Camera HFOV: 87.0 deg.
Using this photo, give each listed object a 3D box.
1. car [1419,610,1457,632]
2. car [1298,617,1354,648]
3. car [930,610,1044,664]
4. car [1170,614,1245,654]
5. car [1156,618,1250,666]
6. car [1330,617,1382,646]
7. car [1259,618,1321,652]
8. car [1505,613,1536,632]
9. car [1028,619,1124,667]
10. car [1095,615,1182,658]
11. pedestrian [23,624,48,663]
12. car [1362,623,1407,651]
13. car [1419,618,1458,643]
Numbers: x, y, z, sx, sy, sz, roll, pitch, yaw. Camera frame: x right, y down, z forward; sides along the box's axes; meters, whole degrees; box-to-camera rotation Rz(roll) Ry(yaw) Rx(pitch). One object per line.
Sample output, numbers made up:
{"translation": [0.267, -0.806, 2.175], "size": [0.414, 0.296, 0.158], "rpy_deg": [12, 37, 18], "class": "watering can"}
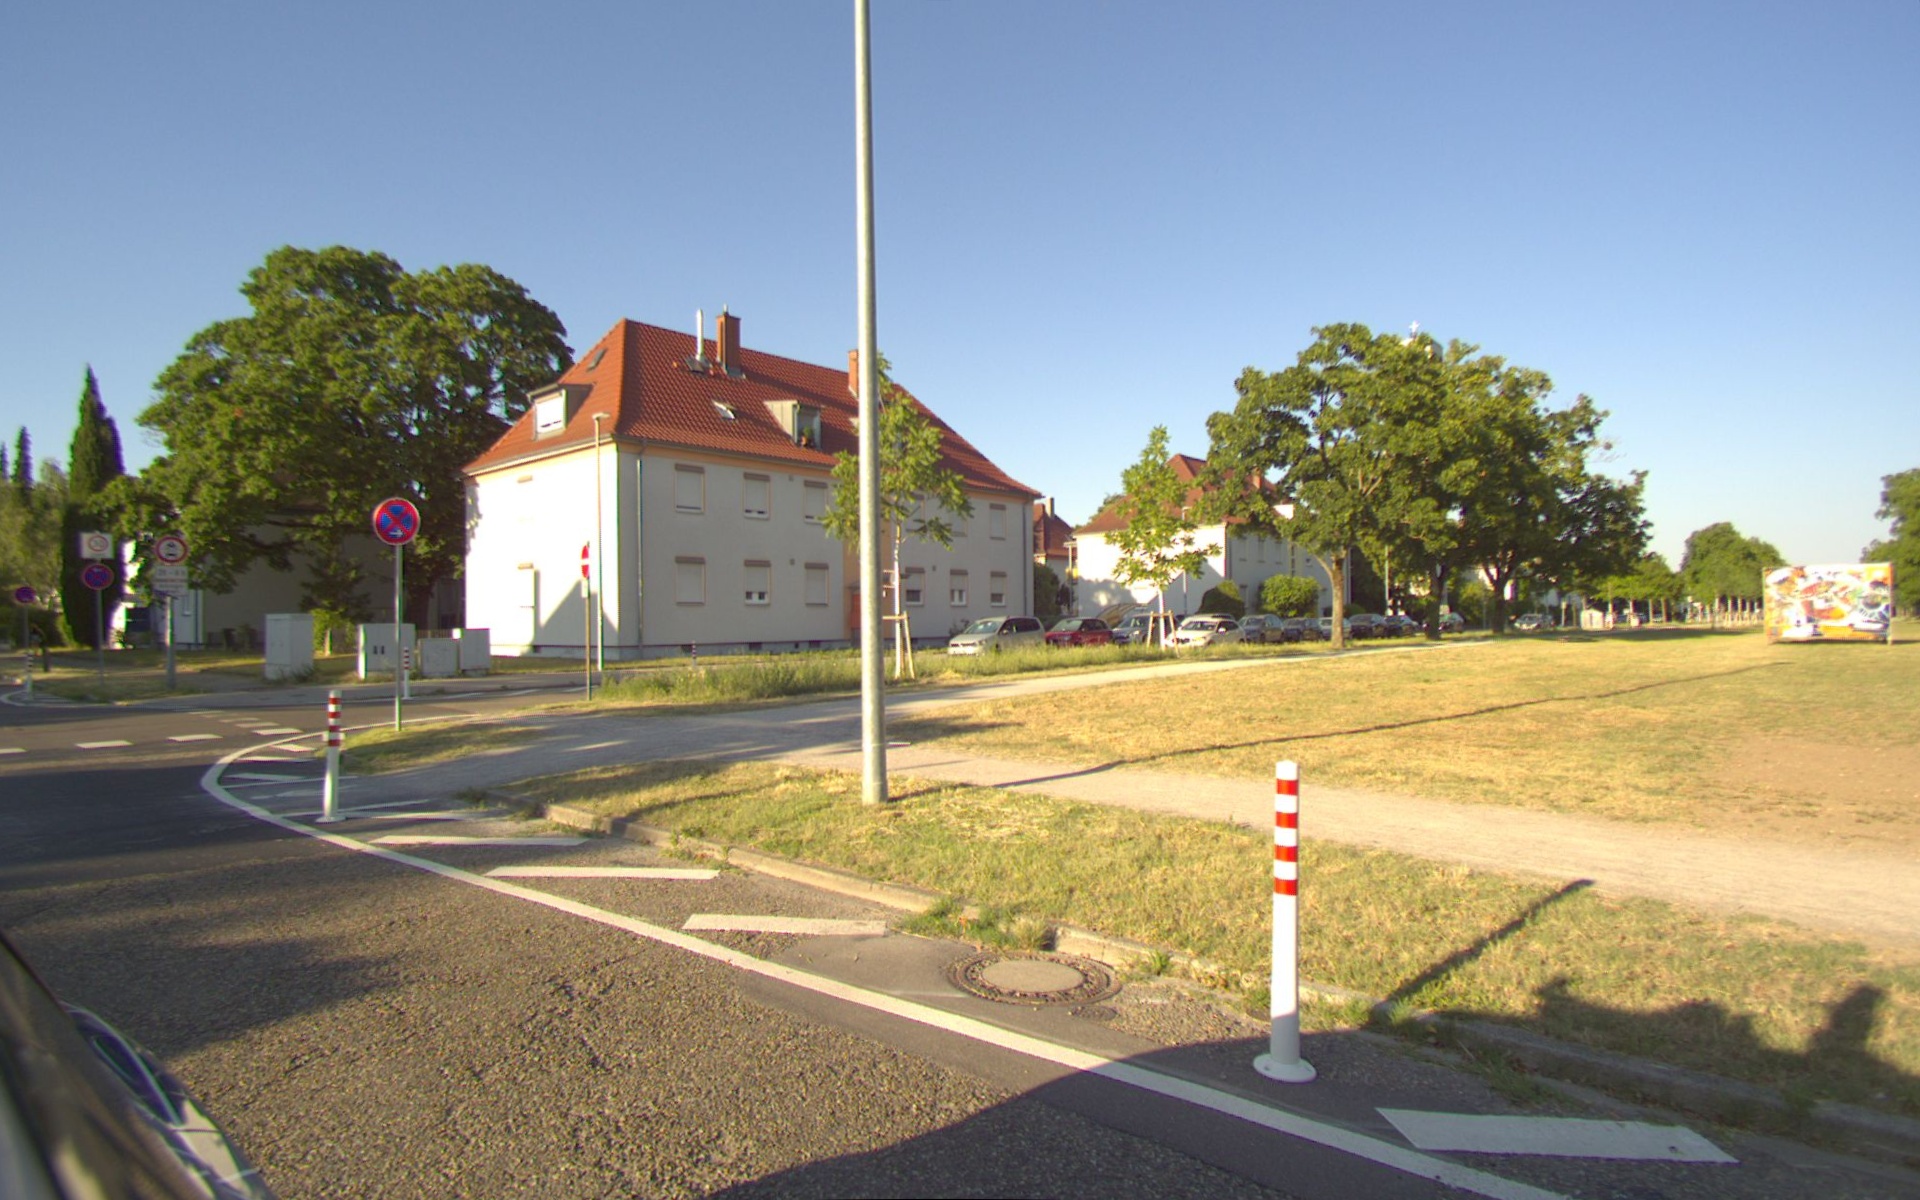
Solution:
{"translation": [39.770, 1.772, 84.131], "size": [1.849, 1.708, 3.947], "rpy_deg": [-4, -3, 39], "class": "car"}
{"translation": [21.436, 1.887, 59.181], "size": [1.849, 1.708, 3.947], "rpy_deg": [-4, -3, 39], "class": "car"}
{"translation": [0.987, 1.248, 34.963], "size": [1.849, 1.708, 3.947], "rpy_deg": [-4, -3, 39], "class": "car"}
{"translation": [11.690, 1.587, 47.691], "size": [1.849, 1.708, 3.947], "rpy_deg": [-4, -3, 39], "class": "car"}
{"translation": [9.546, 1.628, 39.526], "size": [1.869, 1.708, 4.244], "rpy_deg": [-4, -3, 39], "class": "car"}
{"translation": [24.699, 1.952, 63.027], "size": [1.849, 1.708, 3.947], "rpy_deg": [-4, -3, 39], "class": "car"}
{"translation": [18.034, 1.881, 55.218], "size": [1.849, 1.708, 3.947], "rpy_deg": [-4, -3, 39], "class": "car"}
{"translation": [54.200, 2.187, 97.777], "size": [1.849, 1.708, 3.947], "rpy_deg": [-4, -3, 39], "class": "car"}
{"translation": [4.556, 1.663, 39.321], "size": [1.849, 1.708, 3.947], "rpy_deg": [-4, -3, 39], "class": "car"}
{"translation": [7.572, 1.518, 42.740], "size": [1.849, 1.708, 3.947], "rpy_deg": [-4, -3, 39], "class": "car"}
{"translation": [-49.007, 2.276, 53.628], "size": [0.692, 2.029, 0.886], "rpy_deg": [-2, -2, 41], "class": "pedestrian"}
{"translation": [27.833, 2.389, 66.294], "size": [1.806, 1.730, 3.299], "rpy_deg": [-1, -1, 41], "class": "car"}
{"translation": [35.523, 2.244, 75.088], "size": [1.806, 1.730, 3.299], "rpy_deg": [-1, -1, 41], "class": "car"}
